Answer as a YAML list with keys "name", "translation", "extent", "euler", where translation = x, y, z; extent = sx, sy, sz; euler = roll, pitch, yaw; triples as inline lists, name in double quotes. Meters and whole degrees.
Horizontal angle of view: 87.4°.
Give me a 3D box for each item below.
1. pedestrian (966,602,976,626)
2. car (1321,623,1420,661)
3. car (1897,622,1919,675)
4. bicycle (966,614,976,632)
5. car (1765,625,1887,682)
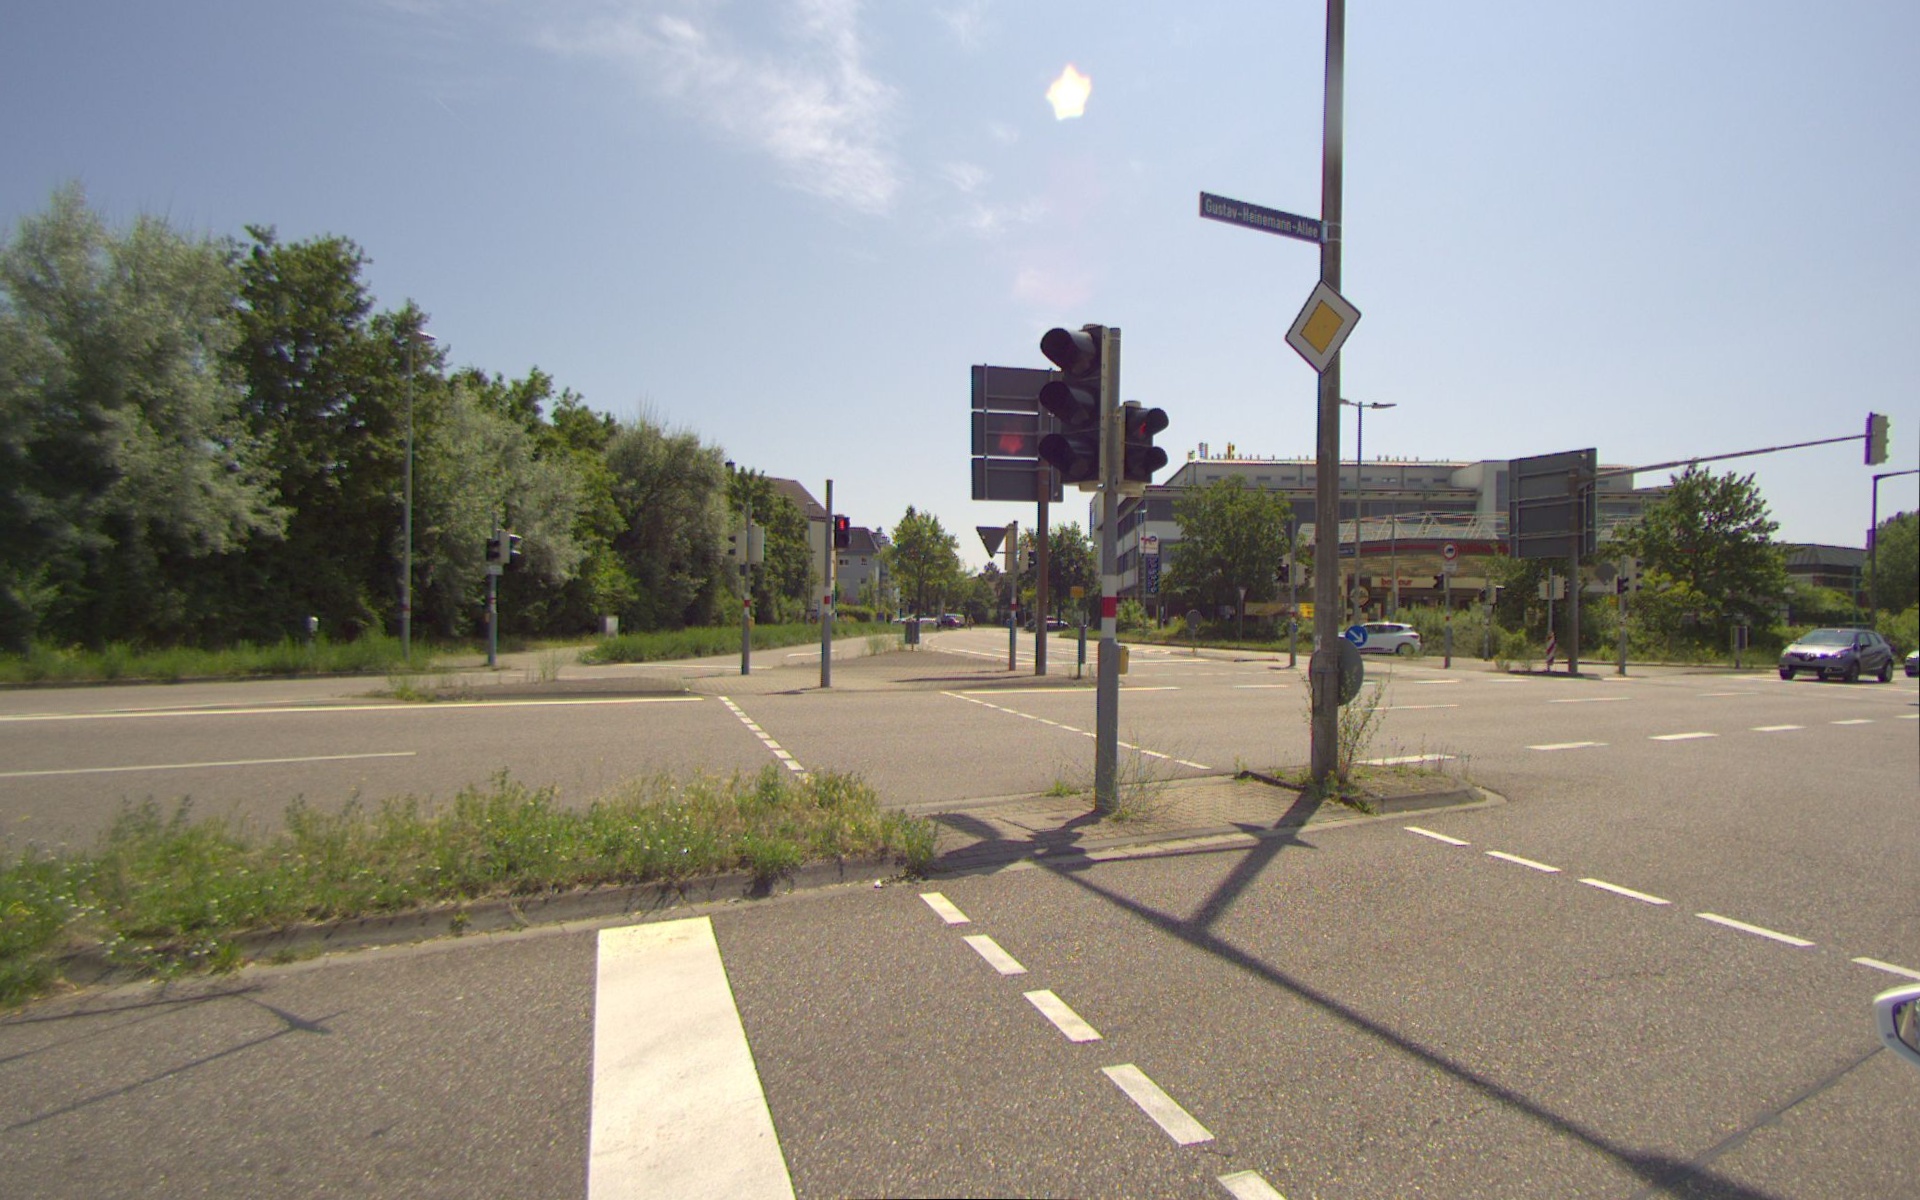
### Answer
- name: "pedestrian"
  translation: [1.336, 1.650, 117.490]
  extent: [0.864, 2.751, 1.518]
  euler: [2, 0, 8]
- name: "car"
  translation: [17.218, 1.750, 42.285]
  extent: [3.753, 1.469, 1.828]
  euler: [1, -1, 22]
- name: "car"
  translation: [34.665, 1.688, 34.818]
  extent: [4.965, 1.773, 1.955]
  euler: [2, -1, -31]
- name: "bicycle"
  translation: [1.305, 2.673, 117.228]
  extent: [0.876, 2.040, 3.196]
  euler: [1, -1, 6]
- name: "car"
  translation: [26.150, 1.585, 30.314]
  extent: [3.954, 1.560, 1.650]
  euler: [2, 0, -31]
